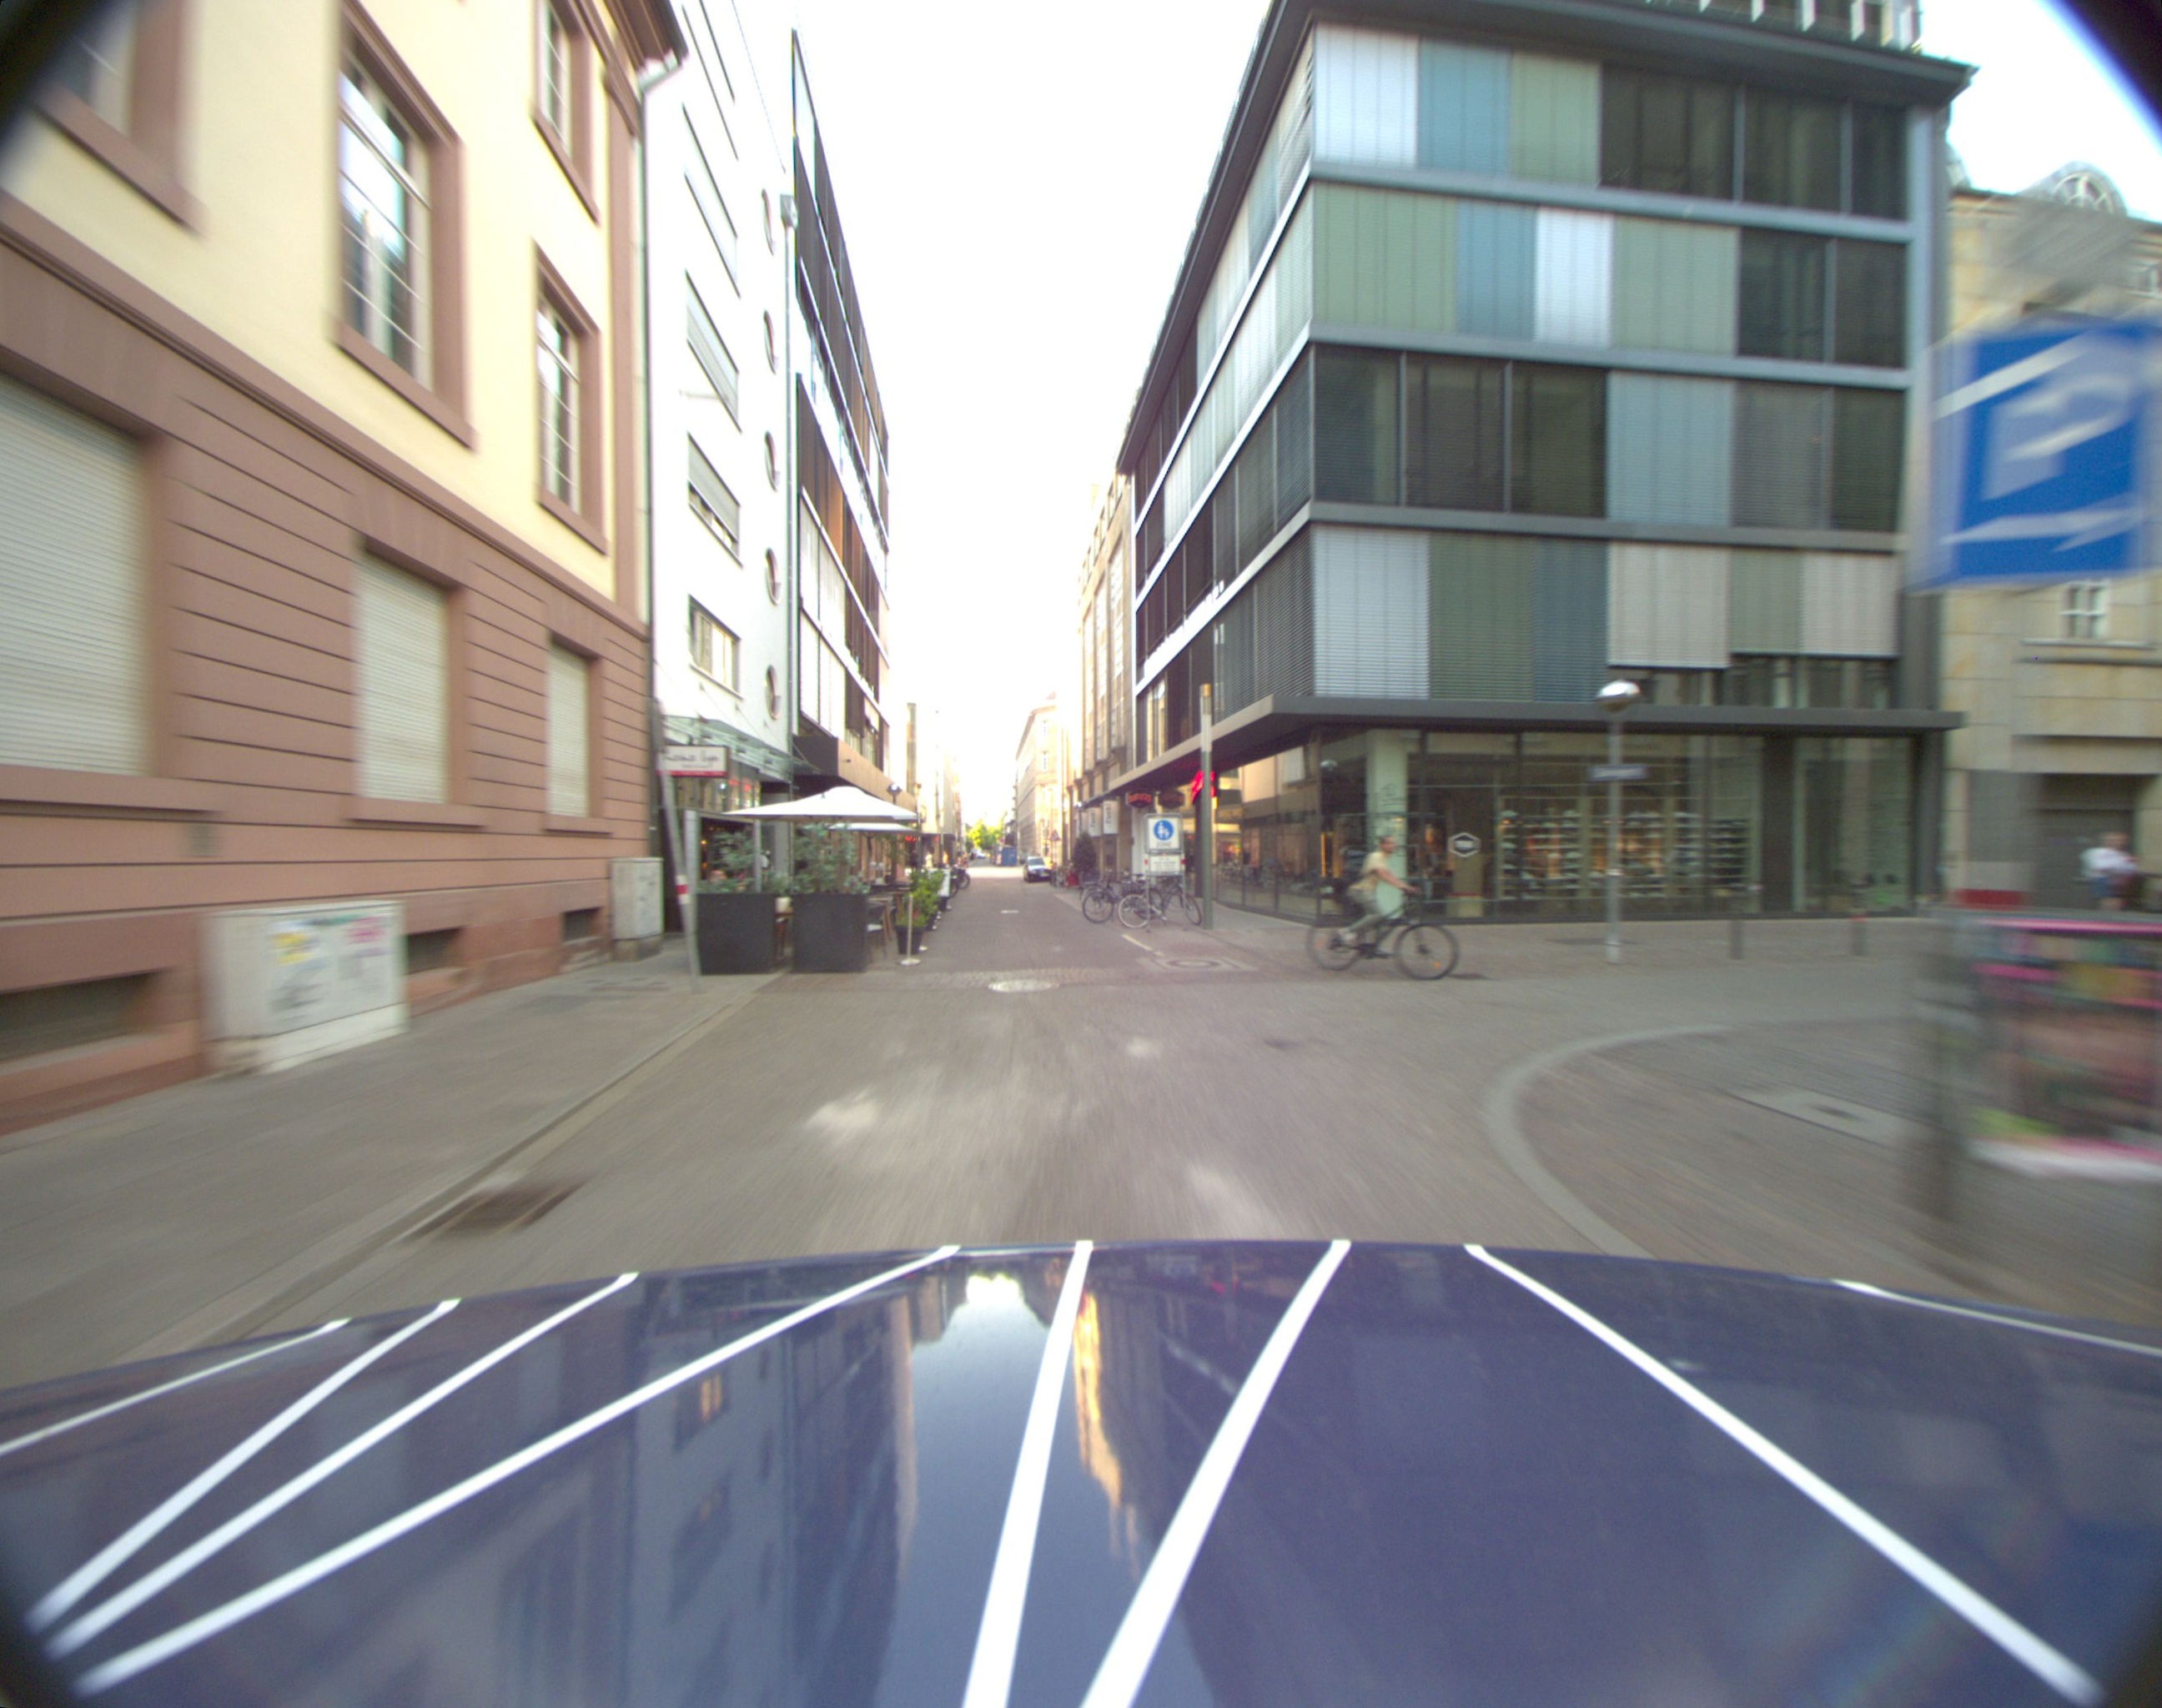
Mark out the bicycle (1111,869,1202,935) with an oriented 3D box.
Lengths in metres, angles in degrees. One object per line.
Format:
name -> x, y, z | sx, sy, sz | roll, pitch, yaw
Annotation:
bicycle -> 1.487, 0.935, 15.005 | 1.671, 1.197, 0.509 | -2, 1, -8

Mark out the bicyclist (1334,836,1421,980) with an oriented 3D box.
bicyclist -> 3.619, 0.618, 9.264 | 0.867, 1.660, 0.677 | 0, 1, 32

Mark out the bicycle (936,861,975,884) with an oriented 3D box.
bicycle -> -6.600, 0.979, 40.049 | 2.040, 1.161, 0.618 | 0, 1, -8

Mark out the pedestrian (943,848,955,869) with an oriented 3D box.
pedestrian -> -10.640, 0.341, 61.304 | 0.764, 1.628, 0.669 | 0, 2, 3

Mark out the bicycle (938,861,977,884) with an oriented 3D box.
bicycle -> -6.661, 0.972, 41.078 | 2.040, 1.209, 0.618 | 0, 1, -8

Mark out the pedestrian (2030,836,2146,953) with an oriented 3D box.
pedestrian -> 15.888, 0.610, 12.007 | 0.611, 1.780, 0.909 | -1, 1, -11

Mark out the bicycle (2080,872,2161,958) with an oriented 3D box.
bicycle -> 16.021, 0.899, 11.427 | 1.827, 1.225, 0.412 | 0, 1, -10

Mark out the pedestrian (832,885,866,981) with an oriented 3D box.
pedestrian -> -3.022, 1.015, 9.904 | 0.401, 1.206, 0.382 | -1, 1, -17

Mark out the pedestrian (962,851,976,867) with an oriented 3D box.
pedestrian -> -10.599, 0.464, 71.814 | 0.917, 1.563, 0.995 | 0, 1, 36

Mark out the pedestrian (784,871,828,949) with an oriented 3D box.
pedestrian -> -5.211, 1.037, 14.424 | 0.576, 1.412, 0.867 | 0, 1, -6

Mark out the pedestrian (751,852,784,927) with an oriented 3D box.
pedestrian -> -7.597, 0.846, 18.434 | 0.640, 1.762, 0.601 | -1, 1, -12

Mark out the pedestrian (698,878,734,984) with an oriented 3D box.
pedestrian -> -4.661, 0.962, 9.714 | 0.363, 1.298, 0.494 | -1, 1, -21

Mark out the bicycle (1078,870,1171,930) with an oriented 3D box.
bicycle -> 0.934, 0.974, 16.431 | 1.903, 1.174, 0.517 | -3, 0, -9

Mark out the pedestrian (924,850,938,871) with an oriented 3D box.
pedestrian -> -11.764, 0.496, 59.578 | 0.781, 1.612, 0.637 | 1, 2, 34

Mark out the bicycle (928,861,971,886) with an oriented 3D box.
bicycle -> -6.492, 0.956, 37.516 | 2.040, 1.161, 0.618 | 0, 1, -8

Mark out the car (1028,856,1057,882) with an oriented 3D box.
car -> -2.196, 0.816, 43.174 | 1.603, 1.415, 3.602 | 0, 1, -3

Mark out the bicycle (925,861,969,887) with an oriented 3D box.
bicycle -> -6.409, 0.946, 36.452 | 2.040, 1.161, 0.618 | 3, 1, -8

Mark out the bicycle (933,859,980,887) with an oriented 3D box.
bicycle -> -5.709, 0.871, 34.866 | 2.040, 1.161, 0.665 | 2, 1, -8

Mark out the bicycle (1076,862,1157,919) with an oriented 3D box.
bicycle -> 0.884, 0.909, 19.176 | 1.903, 1.262, 0.538 | -4, 1, -7

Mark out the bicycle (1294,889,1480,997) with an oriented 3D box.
bicycle -> 3.695, 1.024, 9.242 | 1.999, 1.121, 0.701 | 0, 1, 32

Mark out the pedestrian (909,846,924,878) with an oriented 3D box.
pedestrian -> -9.603, 0.461, 44.344 | 0.804, 1.826, 0.675 | 0, 1, -5
